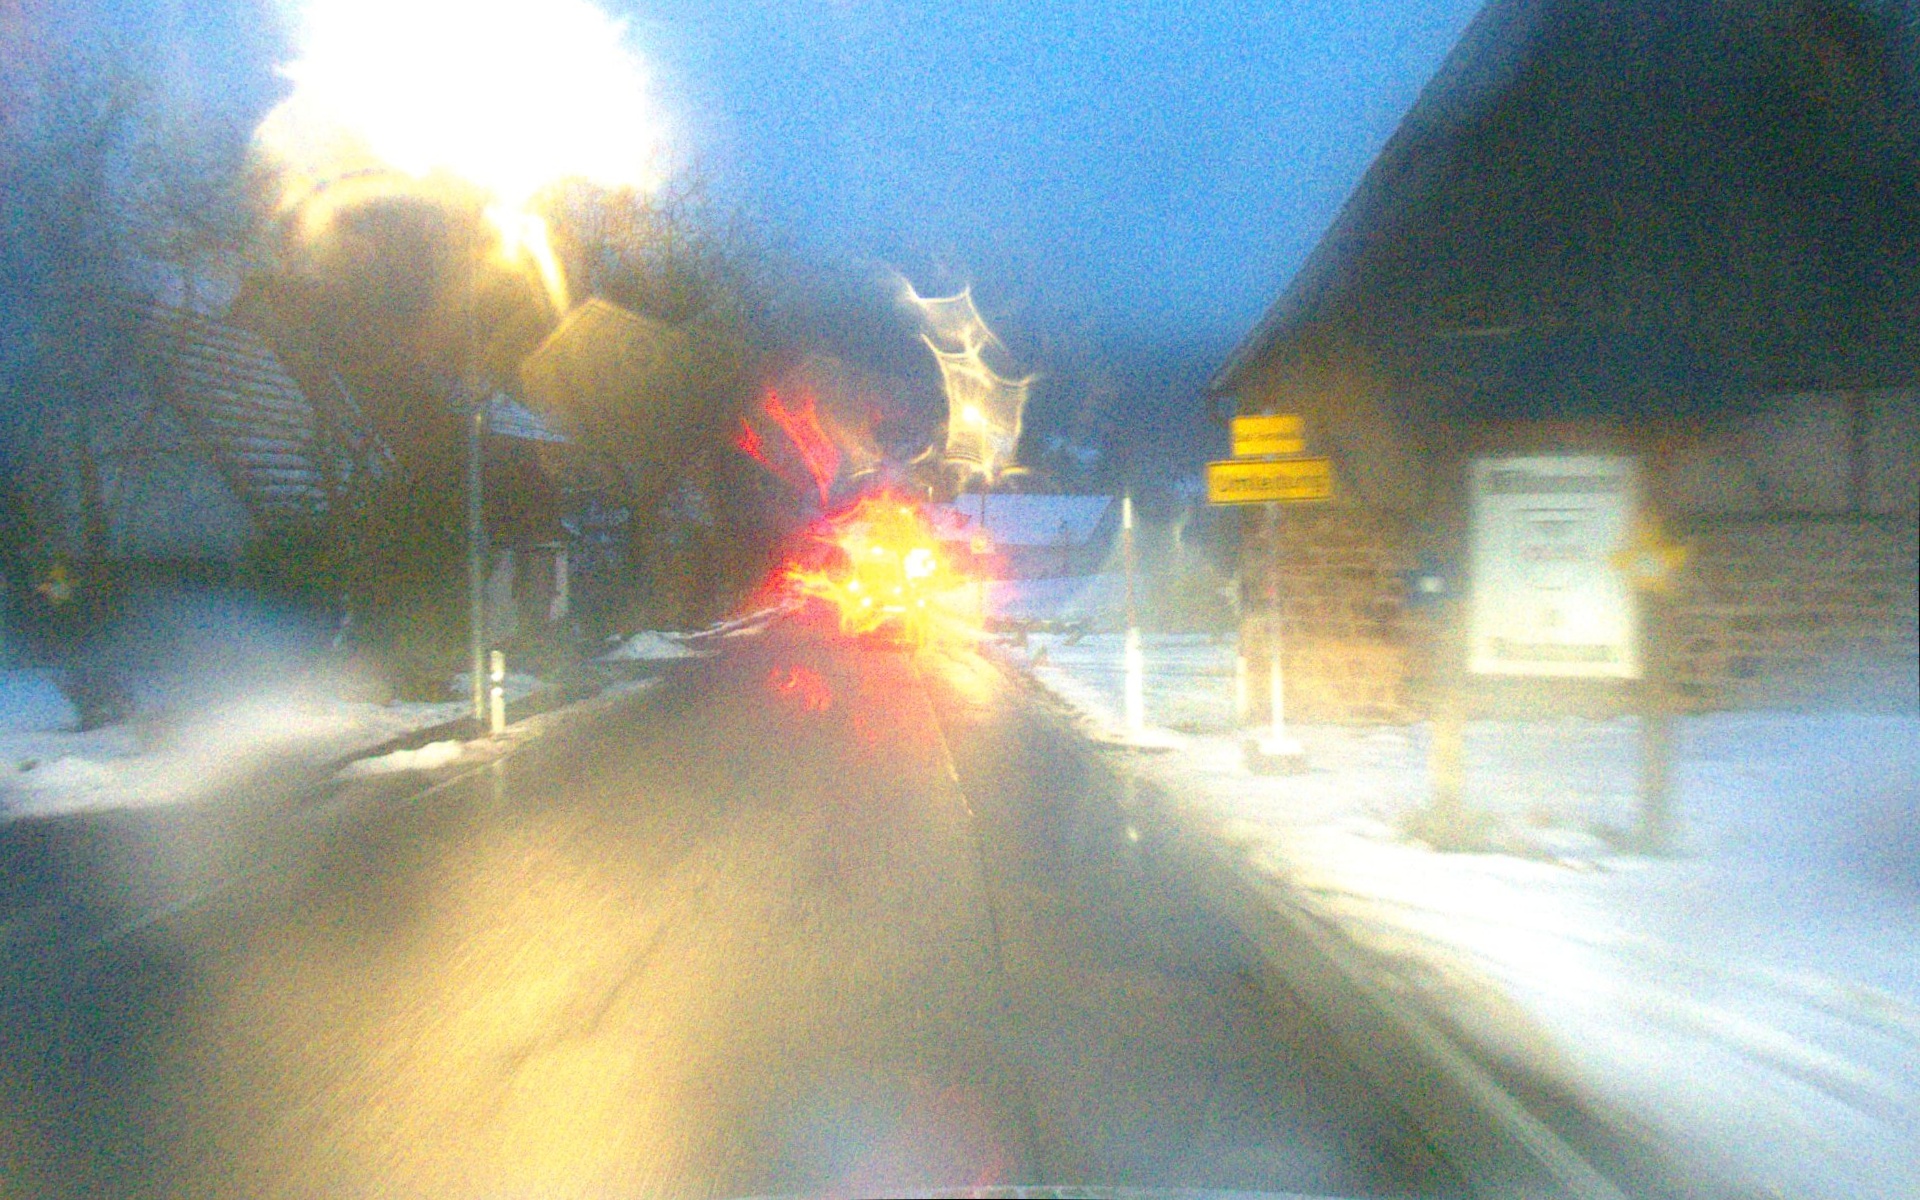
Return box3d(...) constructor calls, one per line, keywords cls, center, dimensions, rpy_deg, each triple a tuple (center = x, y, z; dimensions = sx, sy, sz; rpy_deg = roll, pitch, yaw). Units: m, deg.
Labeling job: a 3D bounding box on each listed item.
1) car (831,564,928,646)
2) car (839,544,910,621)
box3d(cls="car", center=(-1.951, 0.079, 40.511), dimensions=(2.228, 1.873, 5.005), rpy_deg=(0, 1, -2))
box3d(cls="car", center=(-3.485, -0.677, 68.832), dimensions=(2.384, 3.071, 5.327), rpy_deg=(0, -1, 3))
